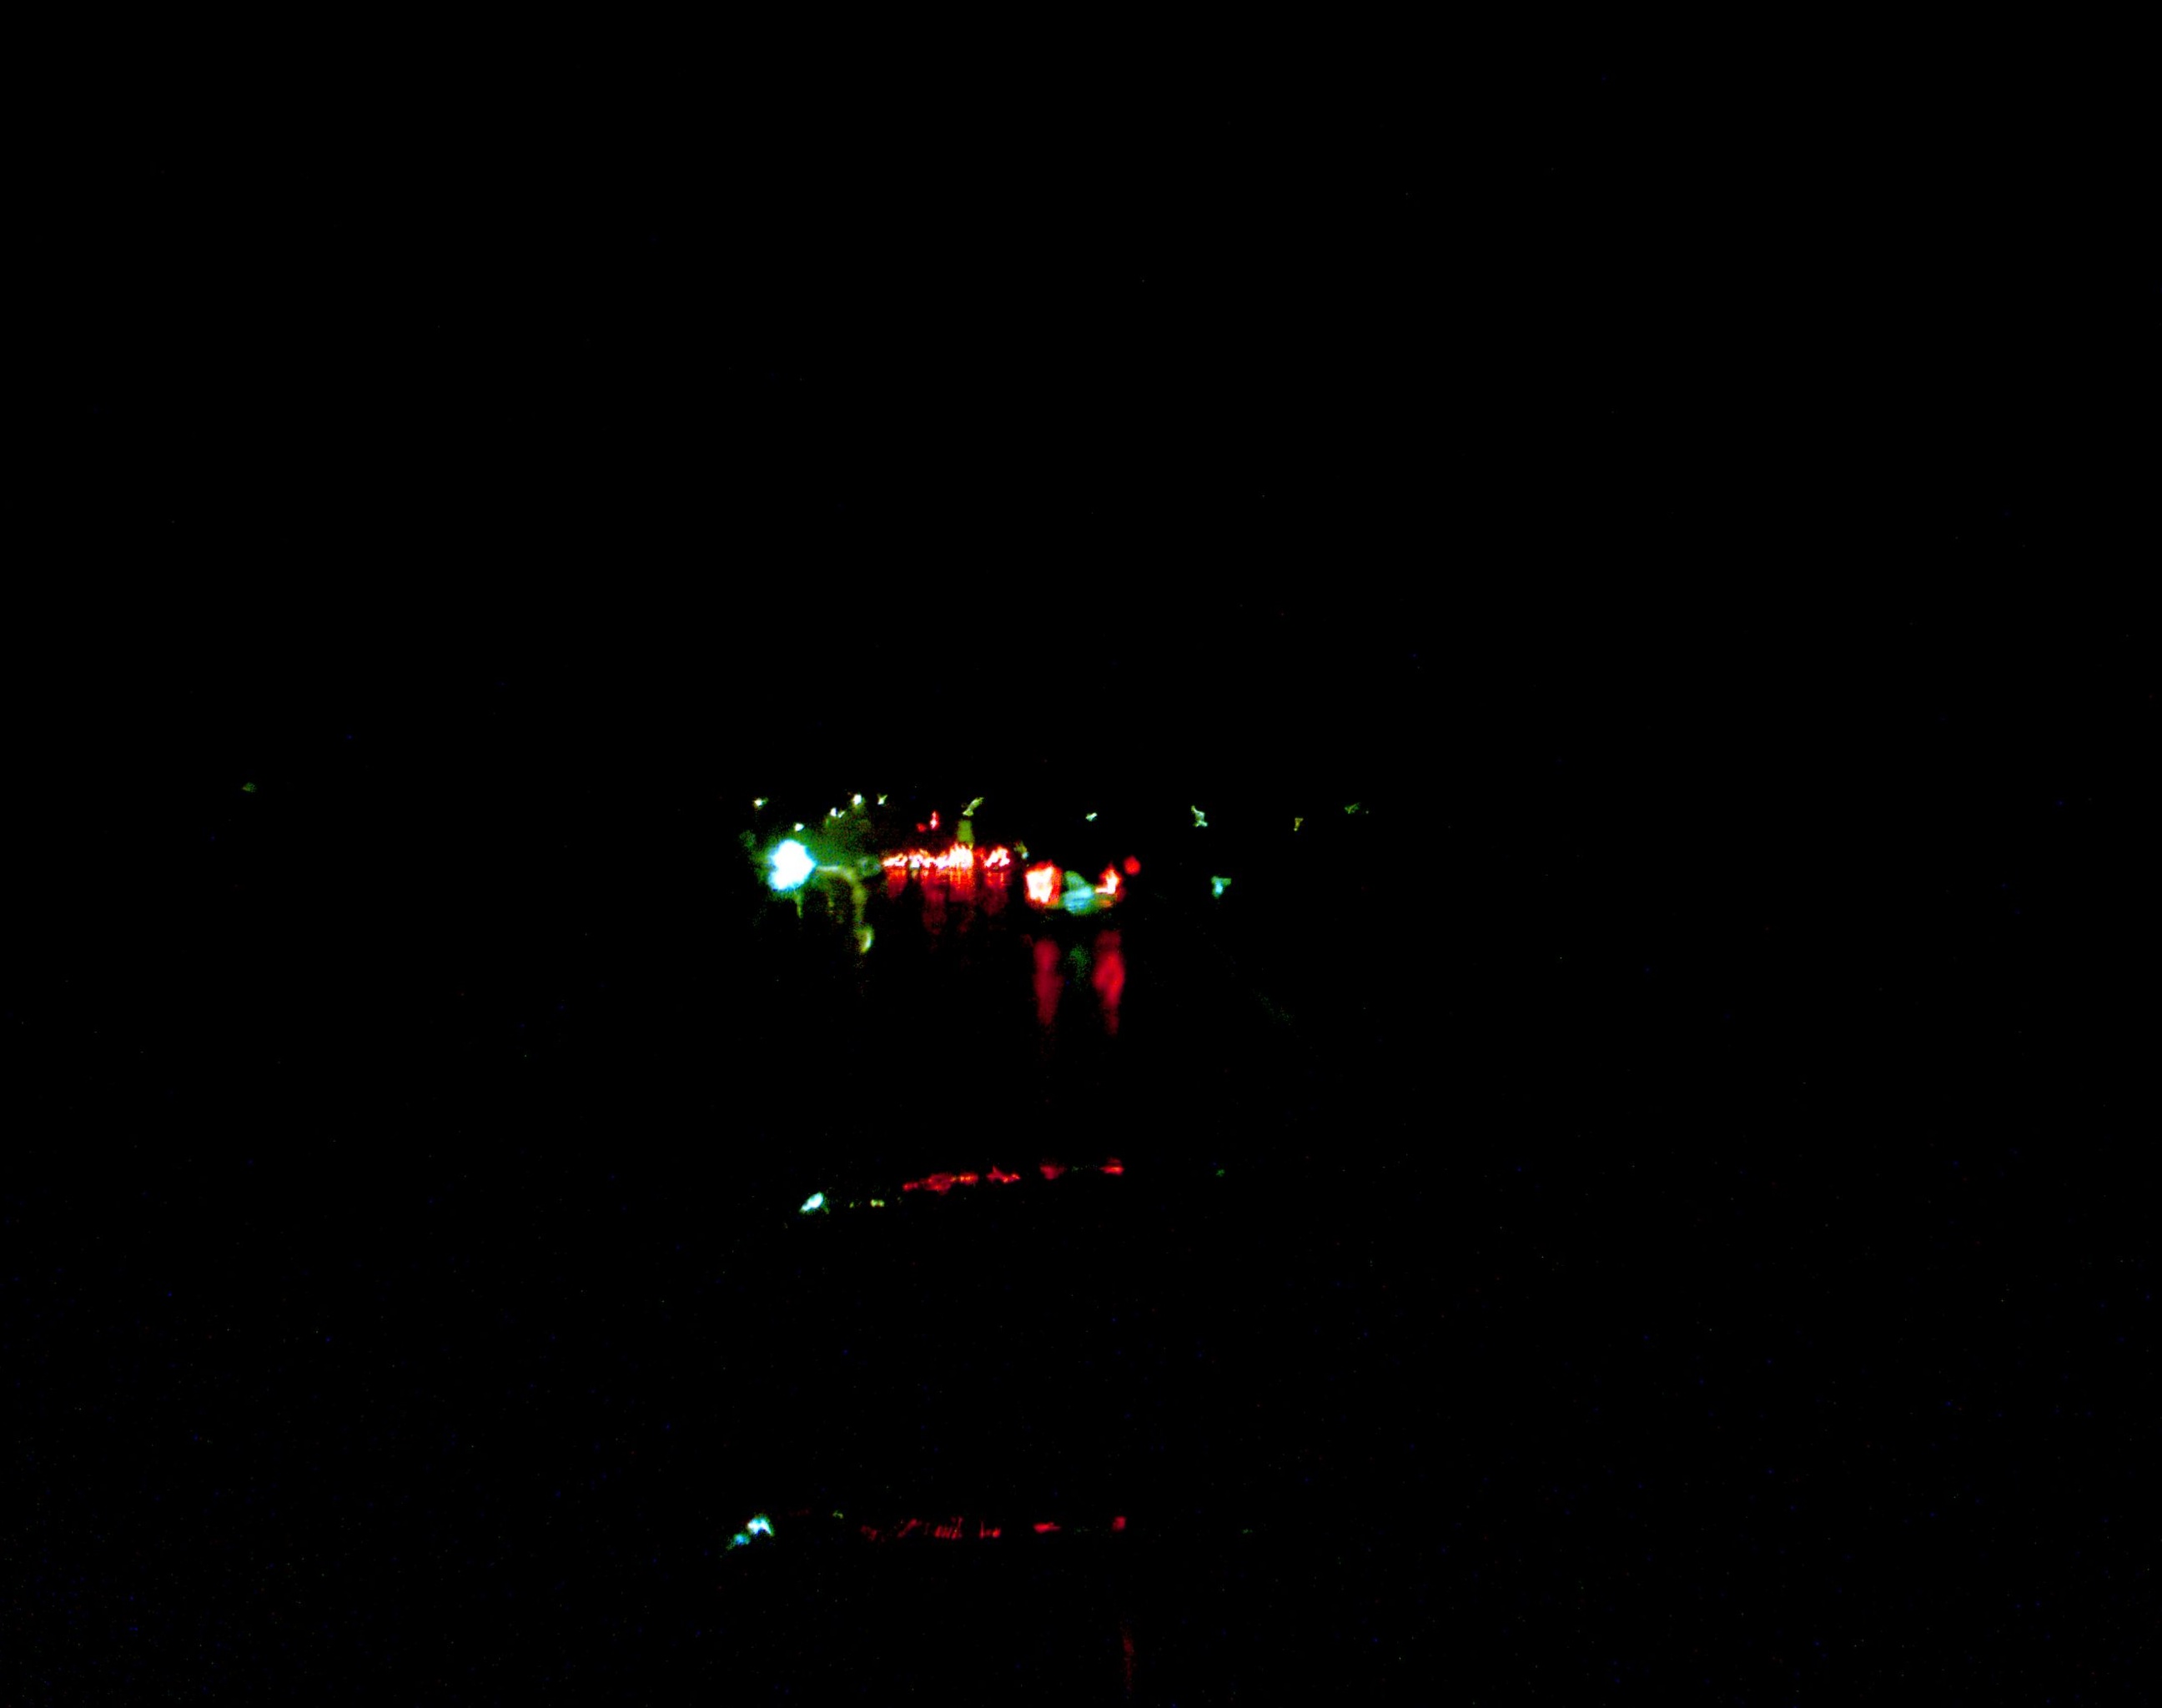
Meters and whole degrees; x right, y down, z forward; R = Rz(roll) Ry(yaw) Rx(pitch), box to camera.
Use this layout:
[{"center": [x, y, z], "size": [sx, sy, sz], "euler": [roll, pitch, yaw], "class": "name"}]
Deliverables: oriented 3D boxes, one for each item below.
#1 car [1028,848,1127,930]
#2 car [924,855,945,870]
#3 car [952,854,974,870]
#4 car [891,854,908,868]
[{"center": [0.018, 0.760, 18.830], "size": [1.986, 1.628, 4.986], "euler": [-1, -1, 2], "class": "car"}, {"center": [-17.137, 0.975, 95.015], "size": [1.997, 1.628, 4.959], "euler": [-3, 1, -15], "class": "car"}, {"center": [-13.820, 0.918, 95.103], "size": [1.997, 1.628, 4.959], "euler": [-3, 1, -15], "class": "car"}, {"center": [-23.464, 0.896, 105.114], "size": [1.997, 1.628, 4.959], "euler": [-3, 1, -15], "class": "car"}]
